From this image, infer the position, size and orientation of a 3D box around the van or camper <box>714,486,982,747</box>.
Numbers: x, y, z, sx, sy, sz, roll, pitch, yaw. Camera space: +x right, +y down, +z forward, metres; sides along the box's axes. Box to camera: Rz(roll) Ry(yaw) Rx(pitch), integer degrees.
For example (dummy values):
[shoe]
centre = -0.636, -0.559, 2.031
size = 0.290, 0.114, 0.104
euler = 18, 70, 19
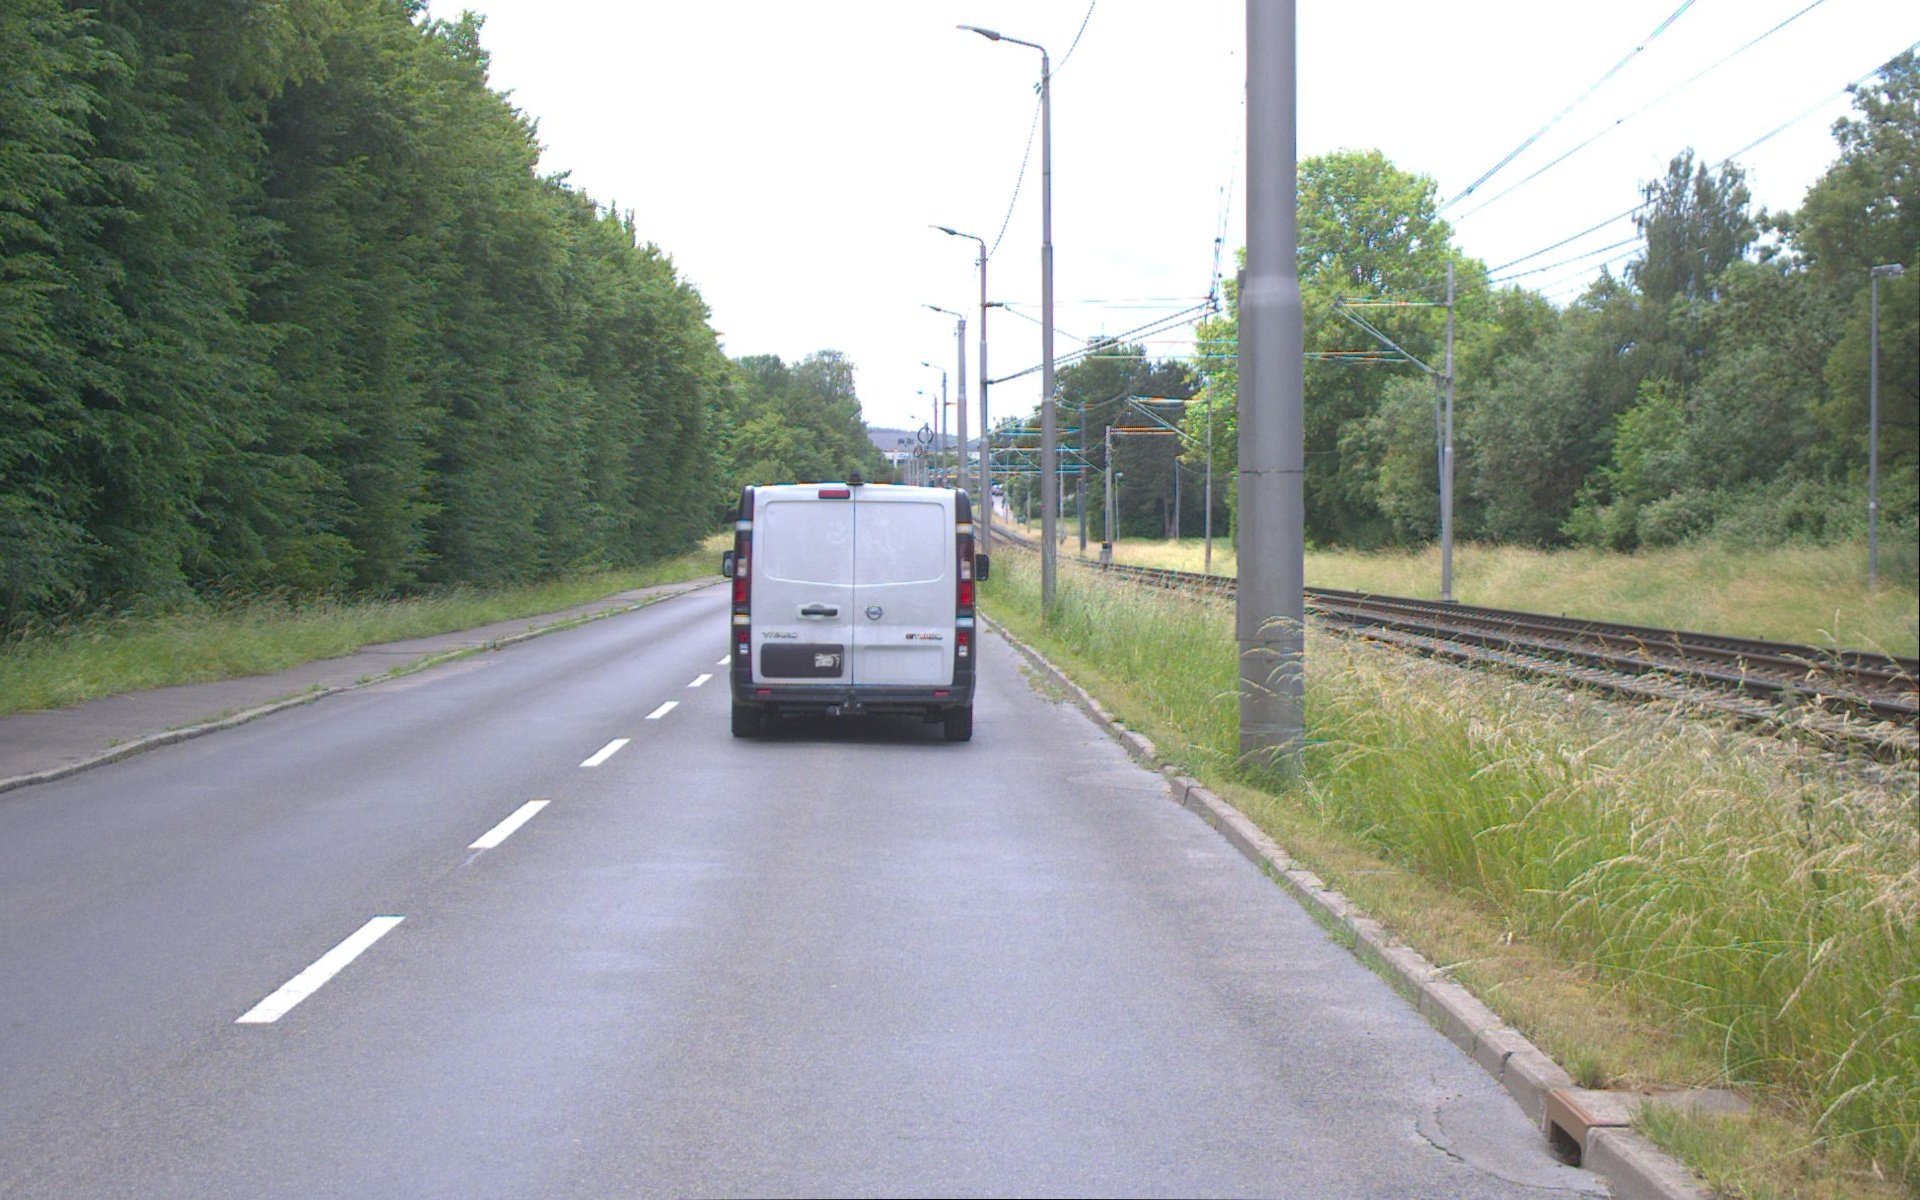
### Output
[van or camper]
centre = -0.919, 0.087, 27.226
size = 1.942, 1.890, 4.285
euler = 0, 1, -3
